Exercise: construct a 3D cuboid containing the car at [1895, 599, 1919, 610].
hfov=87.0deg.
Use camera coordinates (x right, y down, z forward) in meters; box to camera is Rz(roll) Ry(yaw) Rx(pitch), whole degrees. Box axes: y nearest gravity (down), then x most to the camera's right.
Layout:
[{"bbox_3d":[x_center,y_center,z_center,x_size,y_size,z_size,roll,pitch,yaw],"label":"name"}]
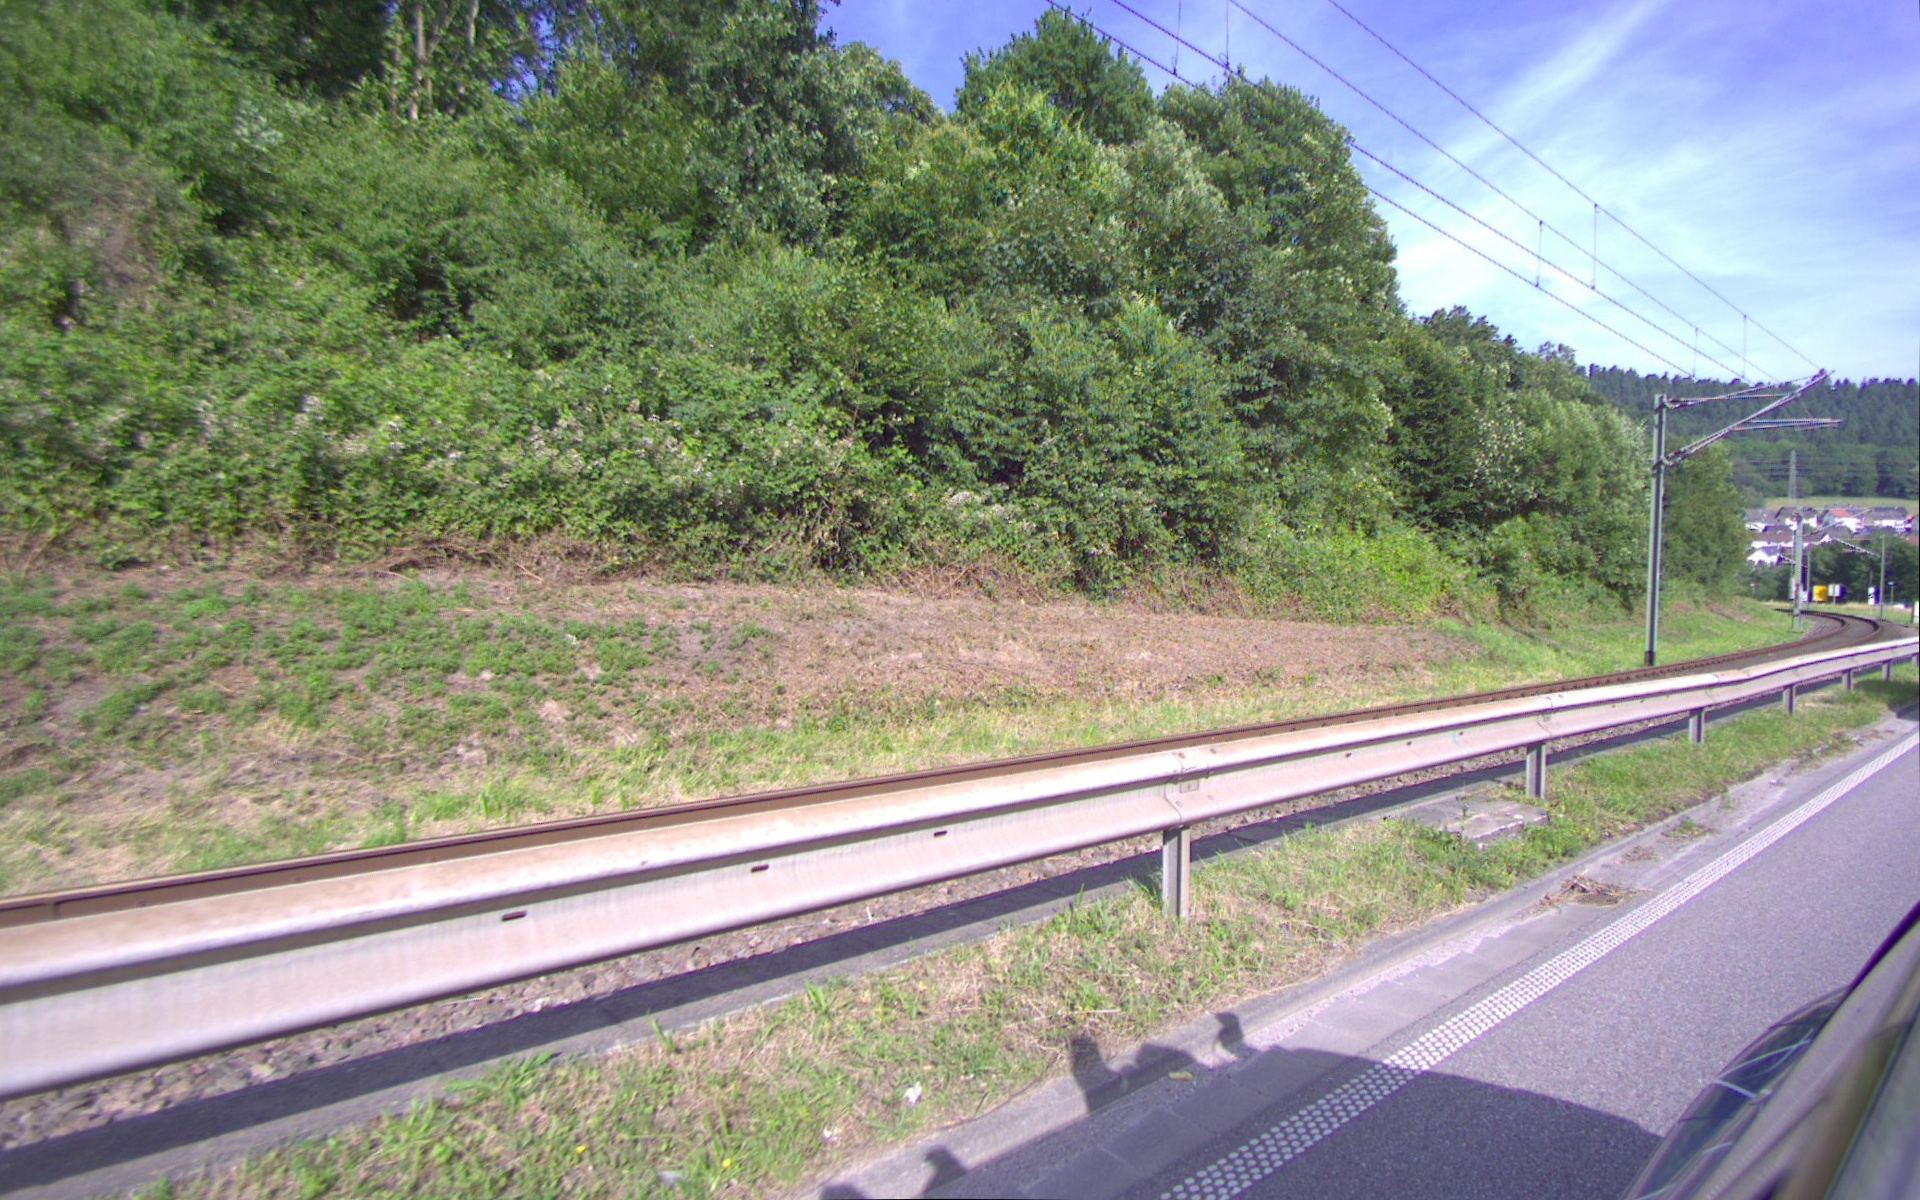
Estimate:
[{"bbox_3d":[133.207,0.628,142.065,1.921,1.601,4.407,-1,0,32],"label":"car"}]
